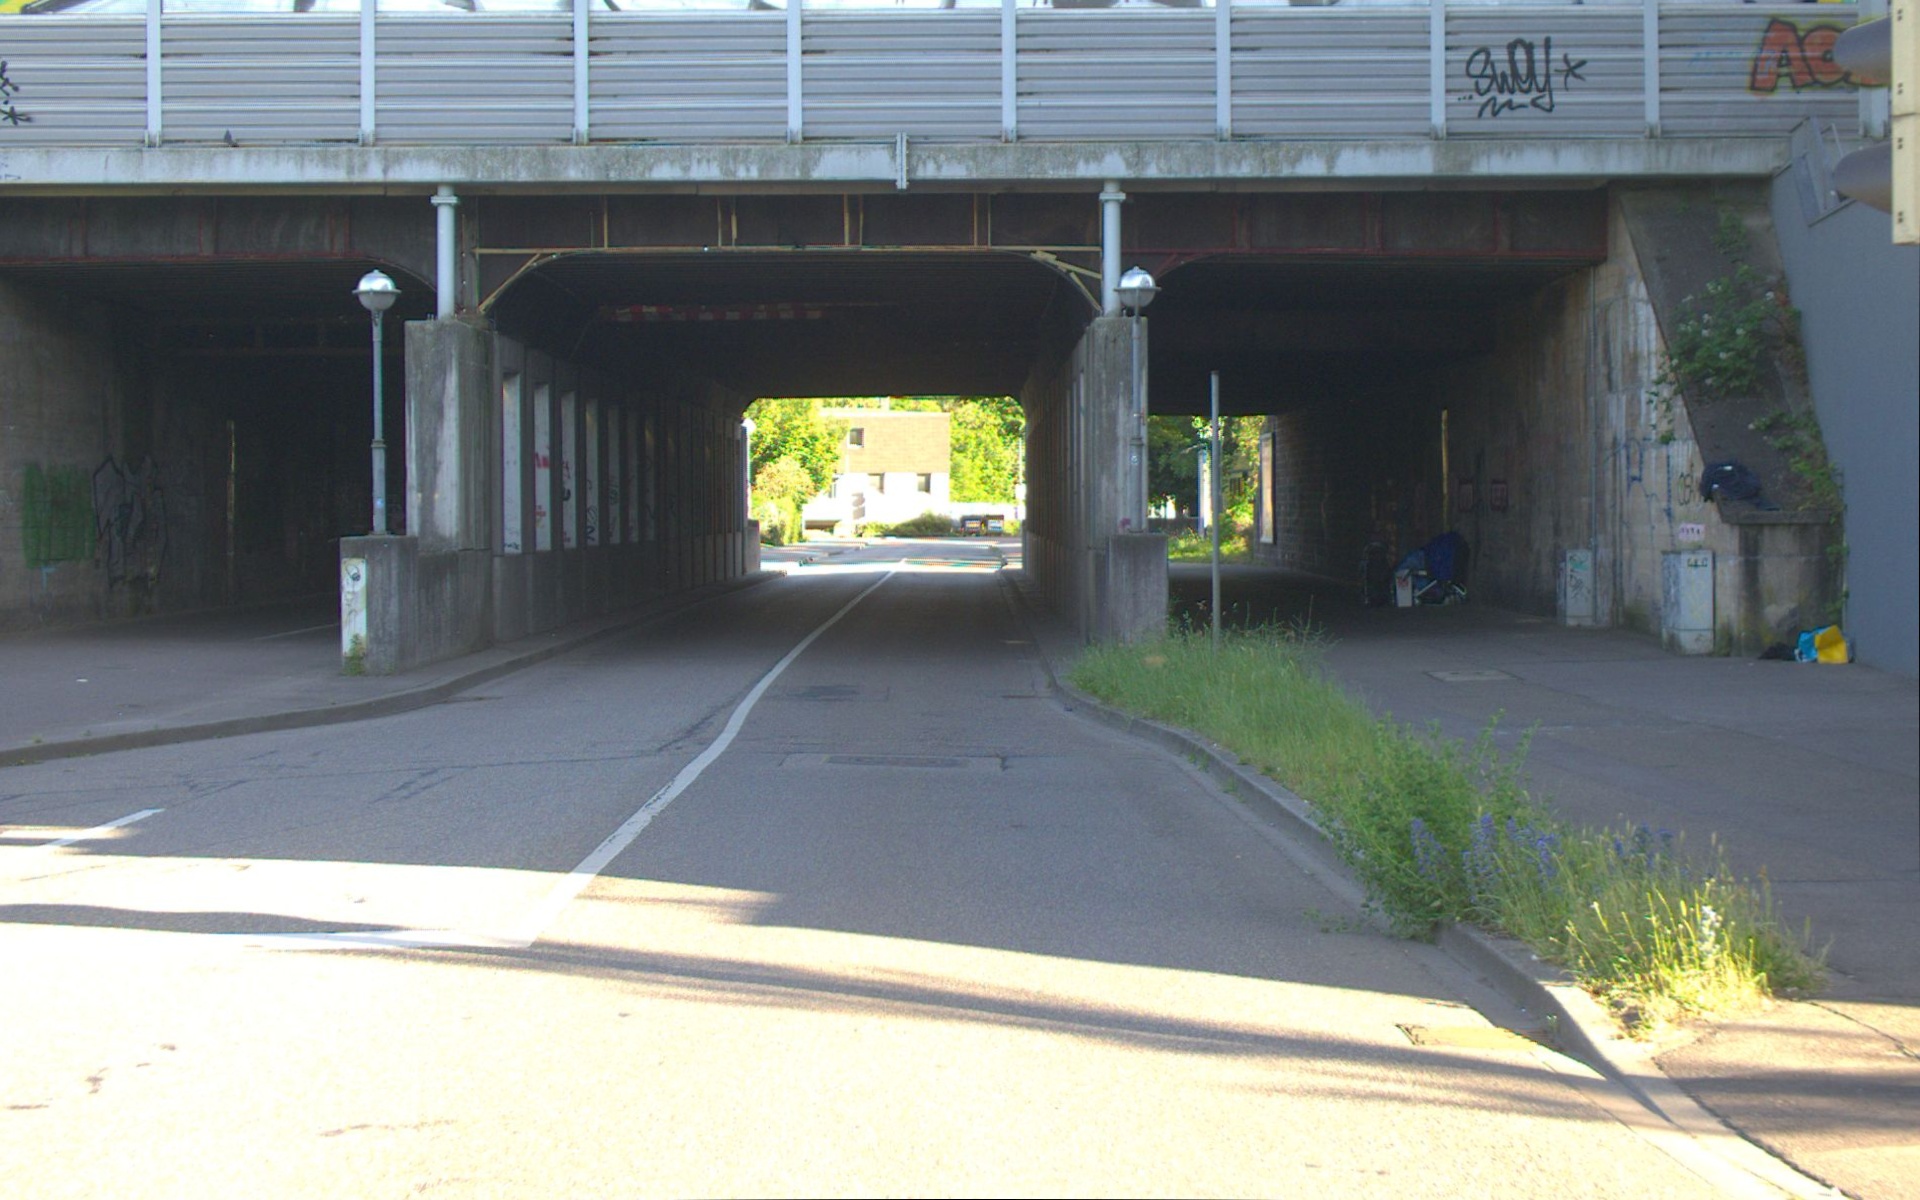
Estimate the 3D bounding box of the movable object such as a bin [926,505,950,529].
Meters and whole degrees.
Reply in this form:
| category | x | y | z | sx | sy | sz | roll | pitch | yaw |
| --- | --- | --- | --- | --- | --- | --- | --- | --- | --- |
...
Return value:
| category | x | y | z | sx | sy | sz | roll | pitch | yaw |
| --- | --- | --- | --- | --- | --- | --- | --- | --- | --- |
| movable object such as a bin | -1.367 | -5.136 | 212.677 | 1.364 | 1.413 | 1.066 | 2 | 0 | -7 |

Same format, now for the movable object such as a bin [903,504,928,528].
| category | x | y | z | sx | sy | sz | roll | pitch | yaw |
| --- | --- | --- | --- | --- | --- | --- | --- | --- | --- |
| movable object such as a bin | -2.763 | -5.180 | 212.490 | 1.364 | 1.413 | 1.066 | 2 | 0 | -7 |
